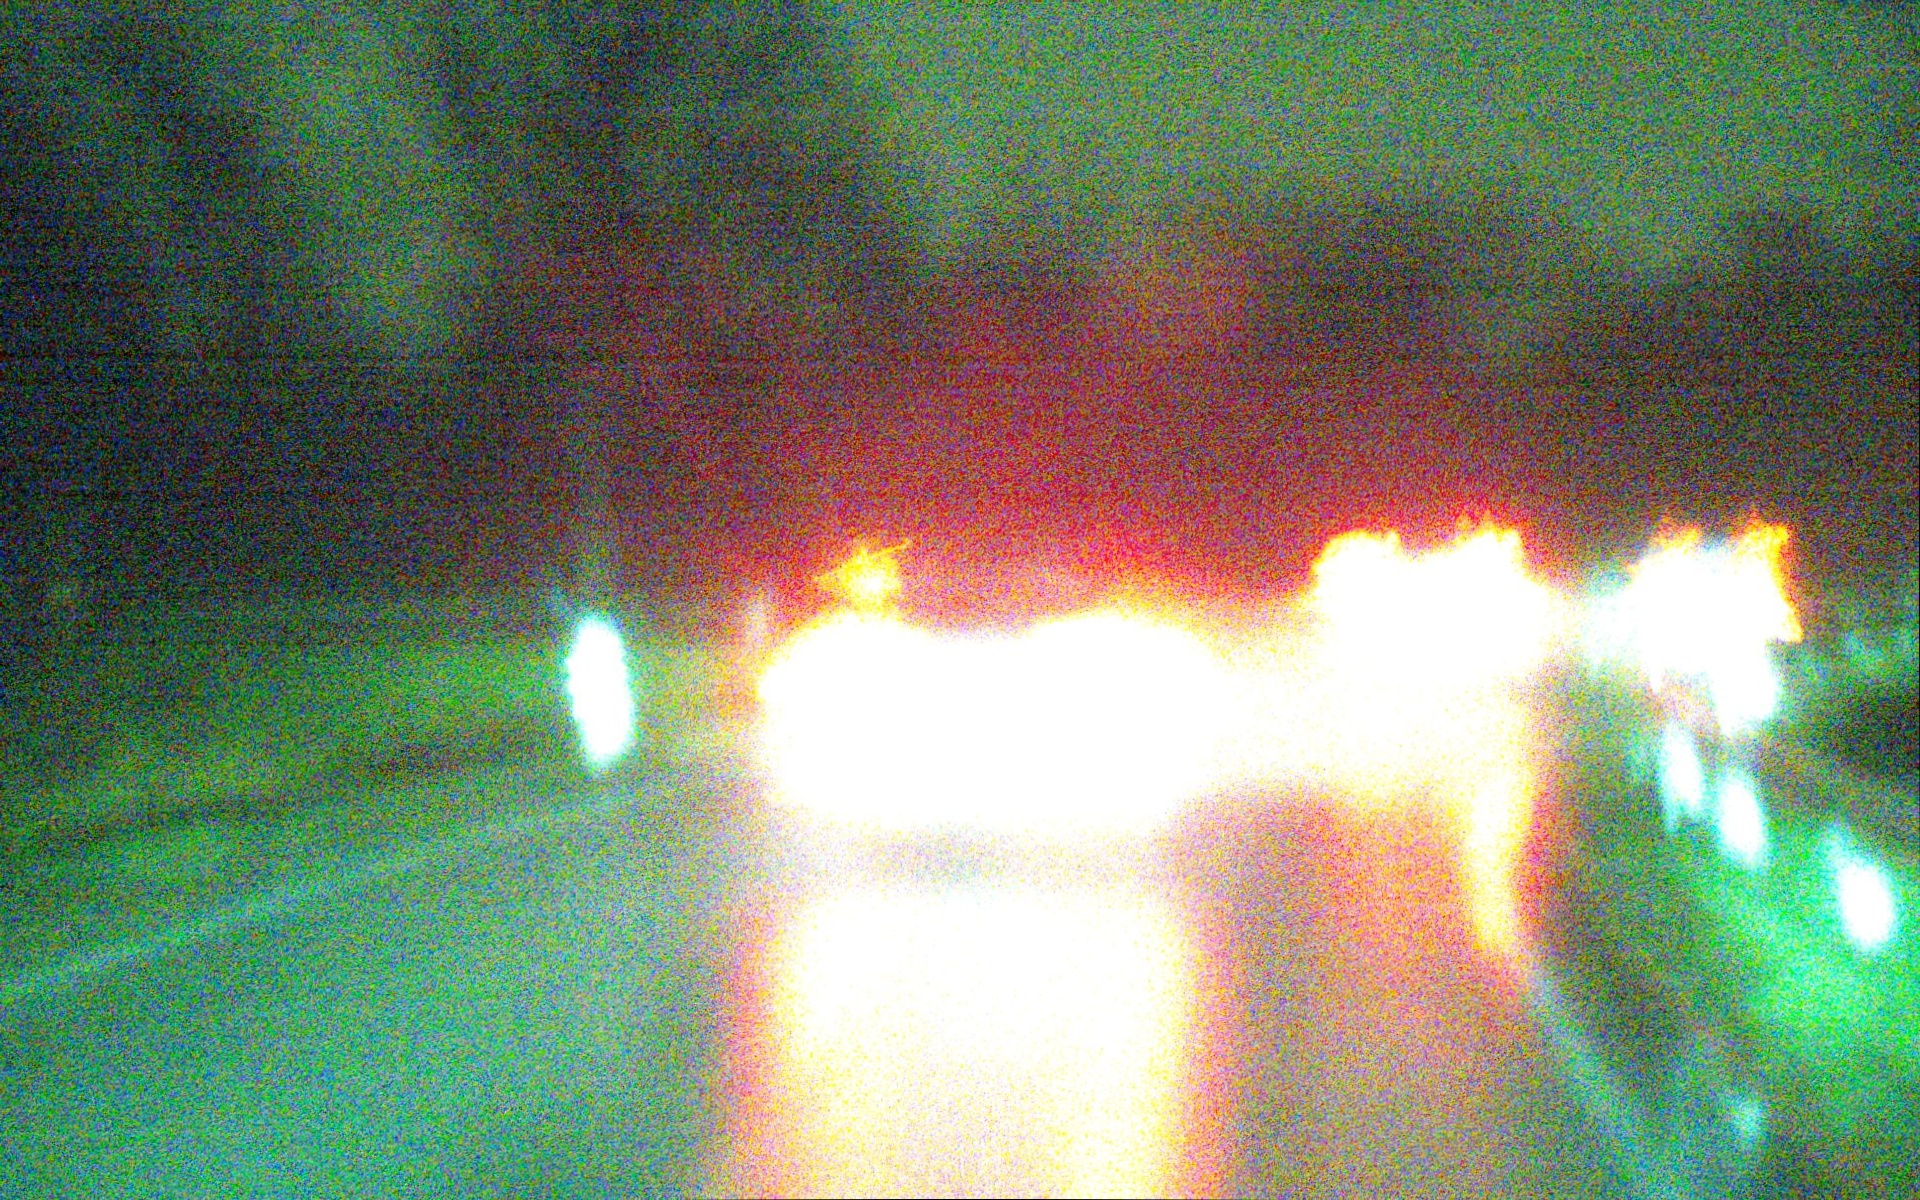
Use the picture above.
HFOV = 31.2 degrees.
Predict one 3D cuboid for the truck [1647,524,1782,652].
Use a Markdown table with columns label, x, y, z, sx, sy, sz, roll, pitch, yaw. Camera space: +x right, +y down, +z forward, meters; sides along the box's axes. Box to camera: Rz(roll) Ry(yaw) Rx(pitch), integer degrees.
| label | x | y | z | sx | sy | sz | roll | pitch | yaw |
| --- | --- | --- | --- | --- | --- | --- | --- | --- | --- |
| truck | 12.852 | -0.166 | 58.378 | 2.071 | 2.007 | 4.877 | -2 | -1 | 13 |

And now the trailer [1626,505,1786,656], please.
| label | x | y | z | sx | sy | sz | roll | pitch | yaw |
| --- | --- | --- | --- | --- | --- | --- | --- | --- | --- |
| trailer | 11.486 | -0.197 | 52.541 | 2.079 | 2.007 | 10.640 | -2 | -1 | 13 |
